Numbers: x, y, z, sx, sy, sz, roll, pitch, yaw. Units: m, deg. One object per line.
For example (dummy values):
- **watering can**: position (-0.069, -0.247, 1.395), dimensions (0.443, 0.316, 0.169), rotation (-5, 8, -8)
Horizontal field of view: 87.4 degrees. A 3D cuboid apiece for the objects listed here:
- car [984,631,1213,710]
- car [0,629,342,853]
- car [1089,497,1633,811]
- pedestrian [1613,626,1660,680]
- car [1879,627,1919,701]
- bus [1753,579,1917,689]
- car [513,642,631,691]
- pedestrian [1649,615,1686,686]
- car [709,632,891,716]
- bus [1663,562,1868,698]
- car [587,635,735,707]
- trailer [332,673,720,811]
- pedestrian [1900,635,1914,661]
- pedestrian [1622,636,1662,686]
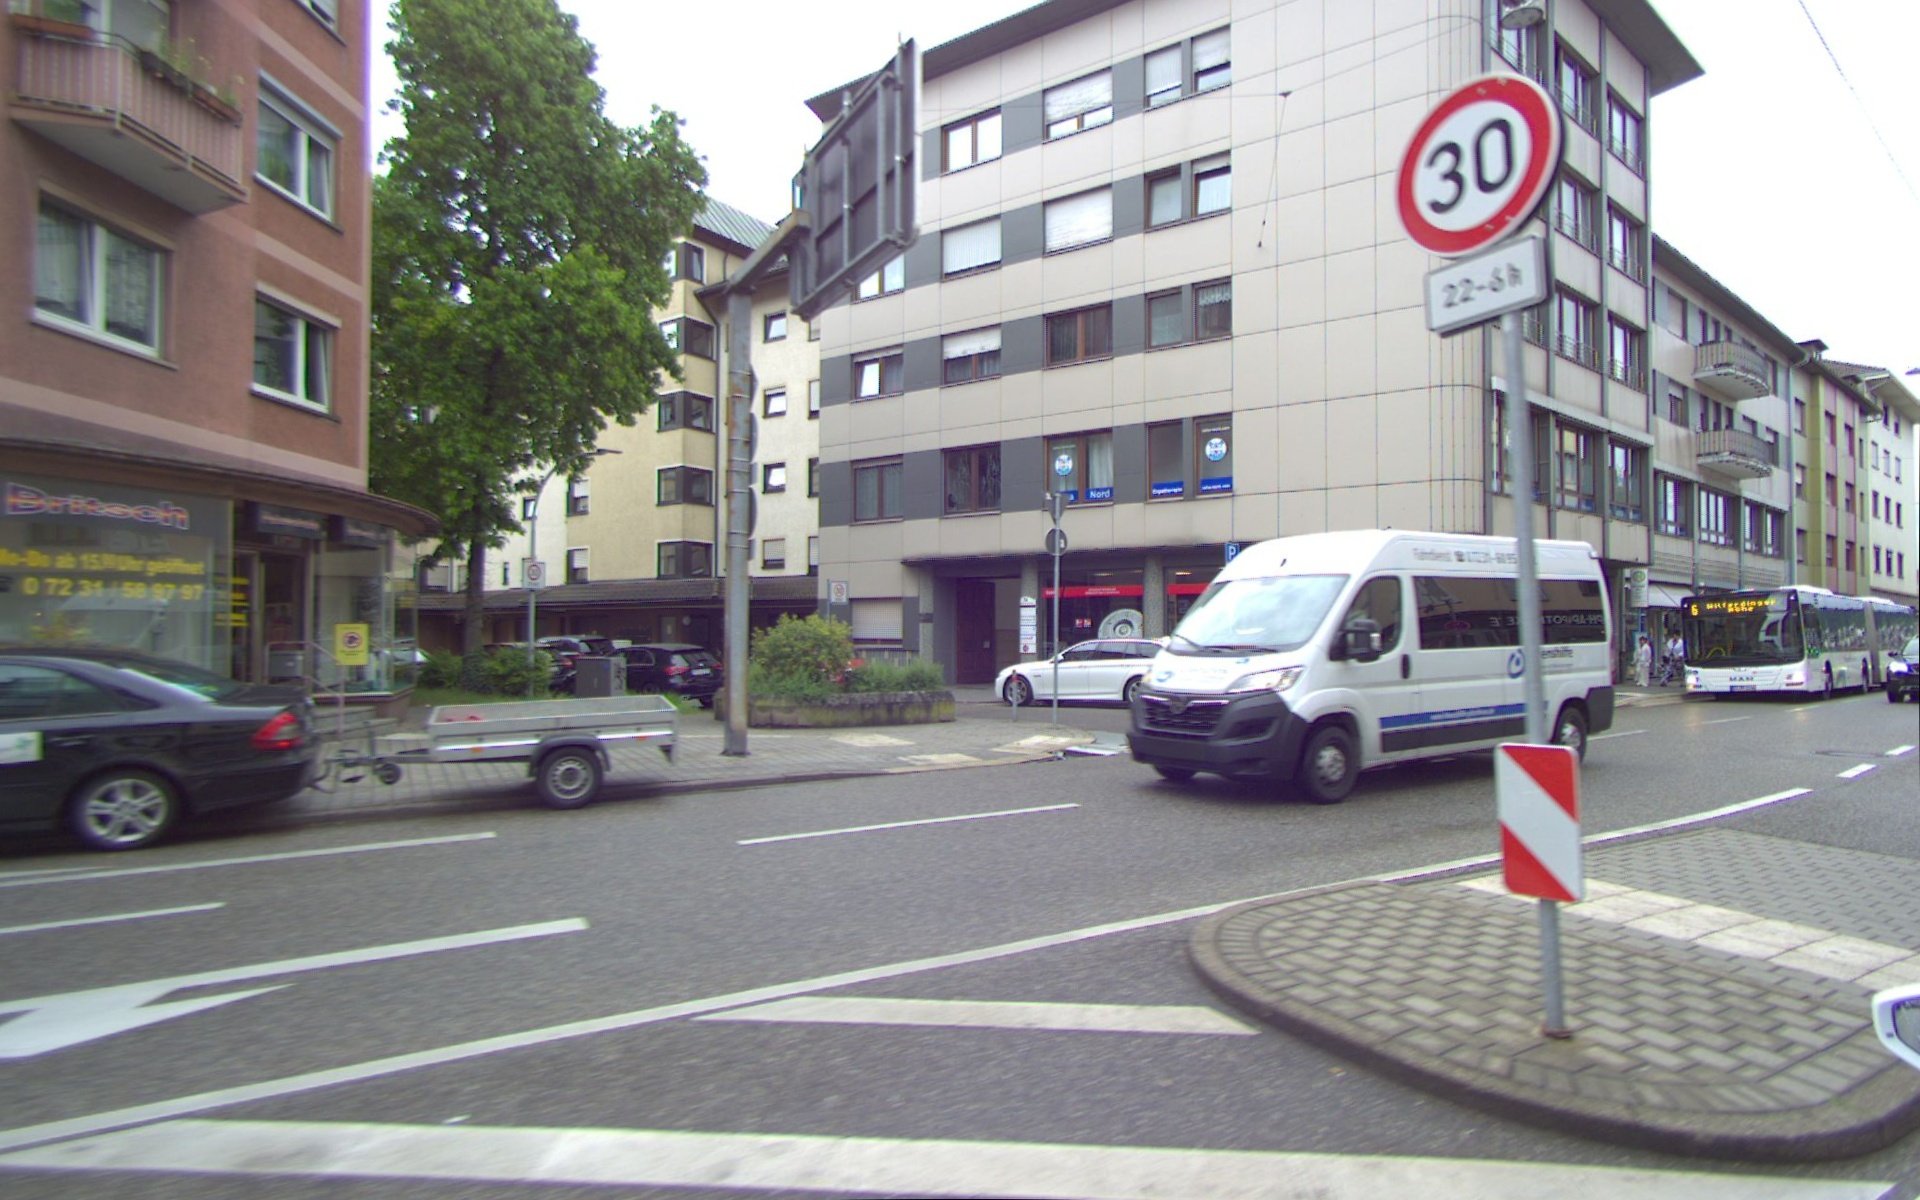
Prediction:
- **car**: position (2.958, 1.476, 21.792), dimensions (4.562, 1.553, 1.902), rotation (-1, -3, 31)
- **car**: position (-7.296, 0.961, 7.290), dimensions (4.739, 1.416, 1.840), rotation (1, 1, -32)
- **car**: position (4.414, 0.553, 10.511), dimensions (6.285, 2.467, 2.074), rotation (2, -3, -33)
- **pedestrian**: position (20.531, 1.611, 30.487), dimensions (0.827, 1.610, 0.938), rotation (2, -3, -37)
- **car**: position (23.703, 1.504, 24.242), dimensions (4.382, 1.684, 1.728), rotation (1, -2, -41)
- **bus**: position (29.479, 1.207, 33.677), dimensions (9.217, 3.230, 2.703), rotation (3, -3, -40)
- **car**: position (-13.284, 2.227, 34.346), dimensions (3.936, 1.572, 1.993), rotation (-1, -3, 37)
- **pedestrian**: position (20.946, 1.492, 29.725), dimensions (0.770, 2.040, 0.674), rotation (2, -3, -37)
- **car**: position (-3.193, 1.399, 19.777), dimensions (3.474, 1.502, 1.686), rotation (-2, -3, 40)
- **bus**: position (22.527, 0.909, 27.868), dimensions (8.839, 3.230, 2.736), rotation (3, -3, -40)
- **car**: position (-6.786, 1.550, 22.645), dimensions (3.478, 1.502, 1.684), rotation (-2, -3, 44)
- **trailer**: position (-3.919, 1.203, 9.230), dimensions (3.019, 0.962, 1.581), rotation (2, -2, -29)
- **pedestrian**: position (58.688, 2.956, 62.247), dimensions (0.734, 1.574, 0.569), rotation (2, -3, -42)
- **pedestrian**: position (19.886, 1.777, 29.292), dimensions (0.779, 1.414, 0.763), rotation (2, -3, -37)
